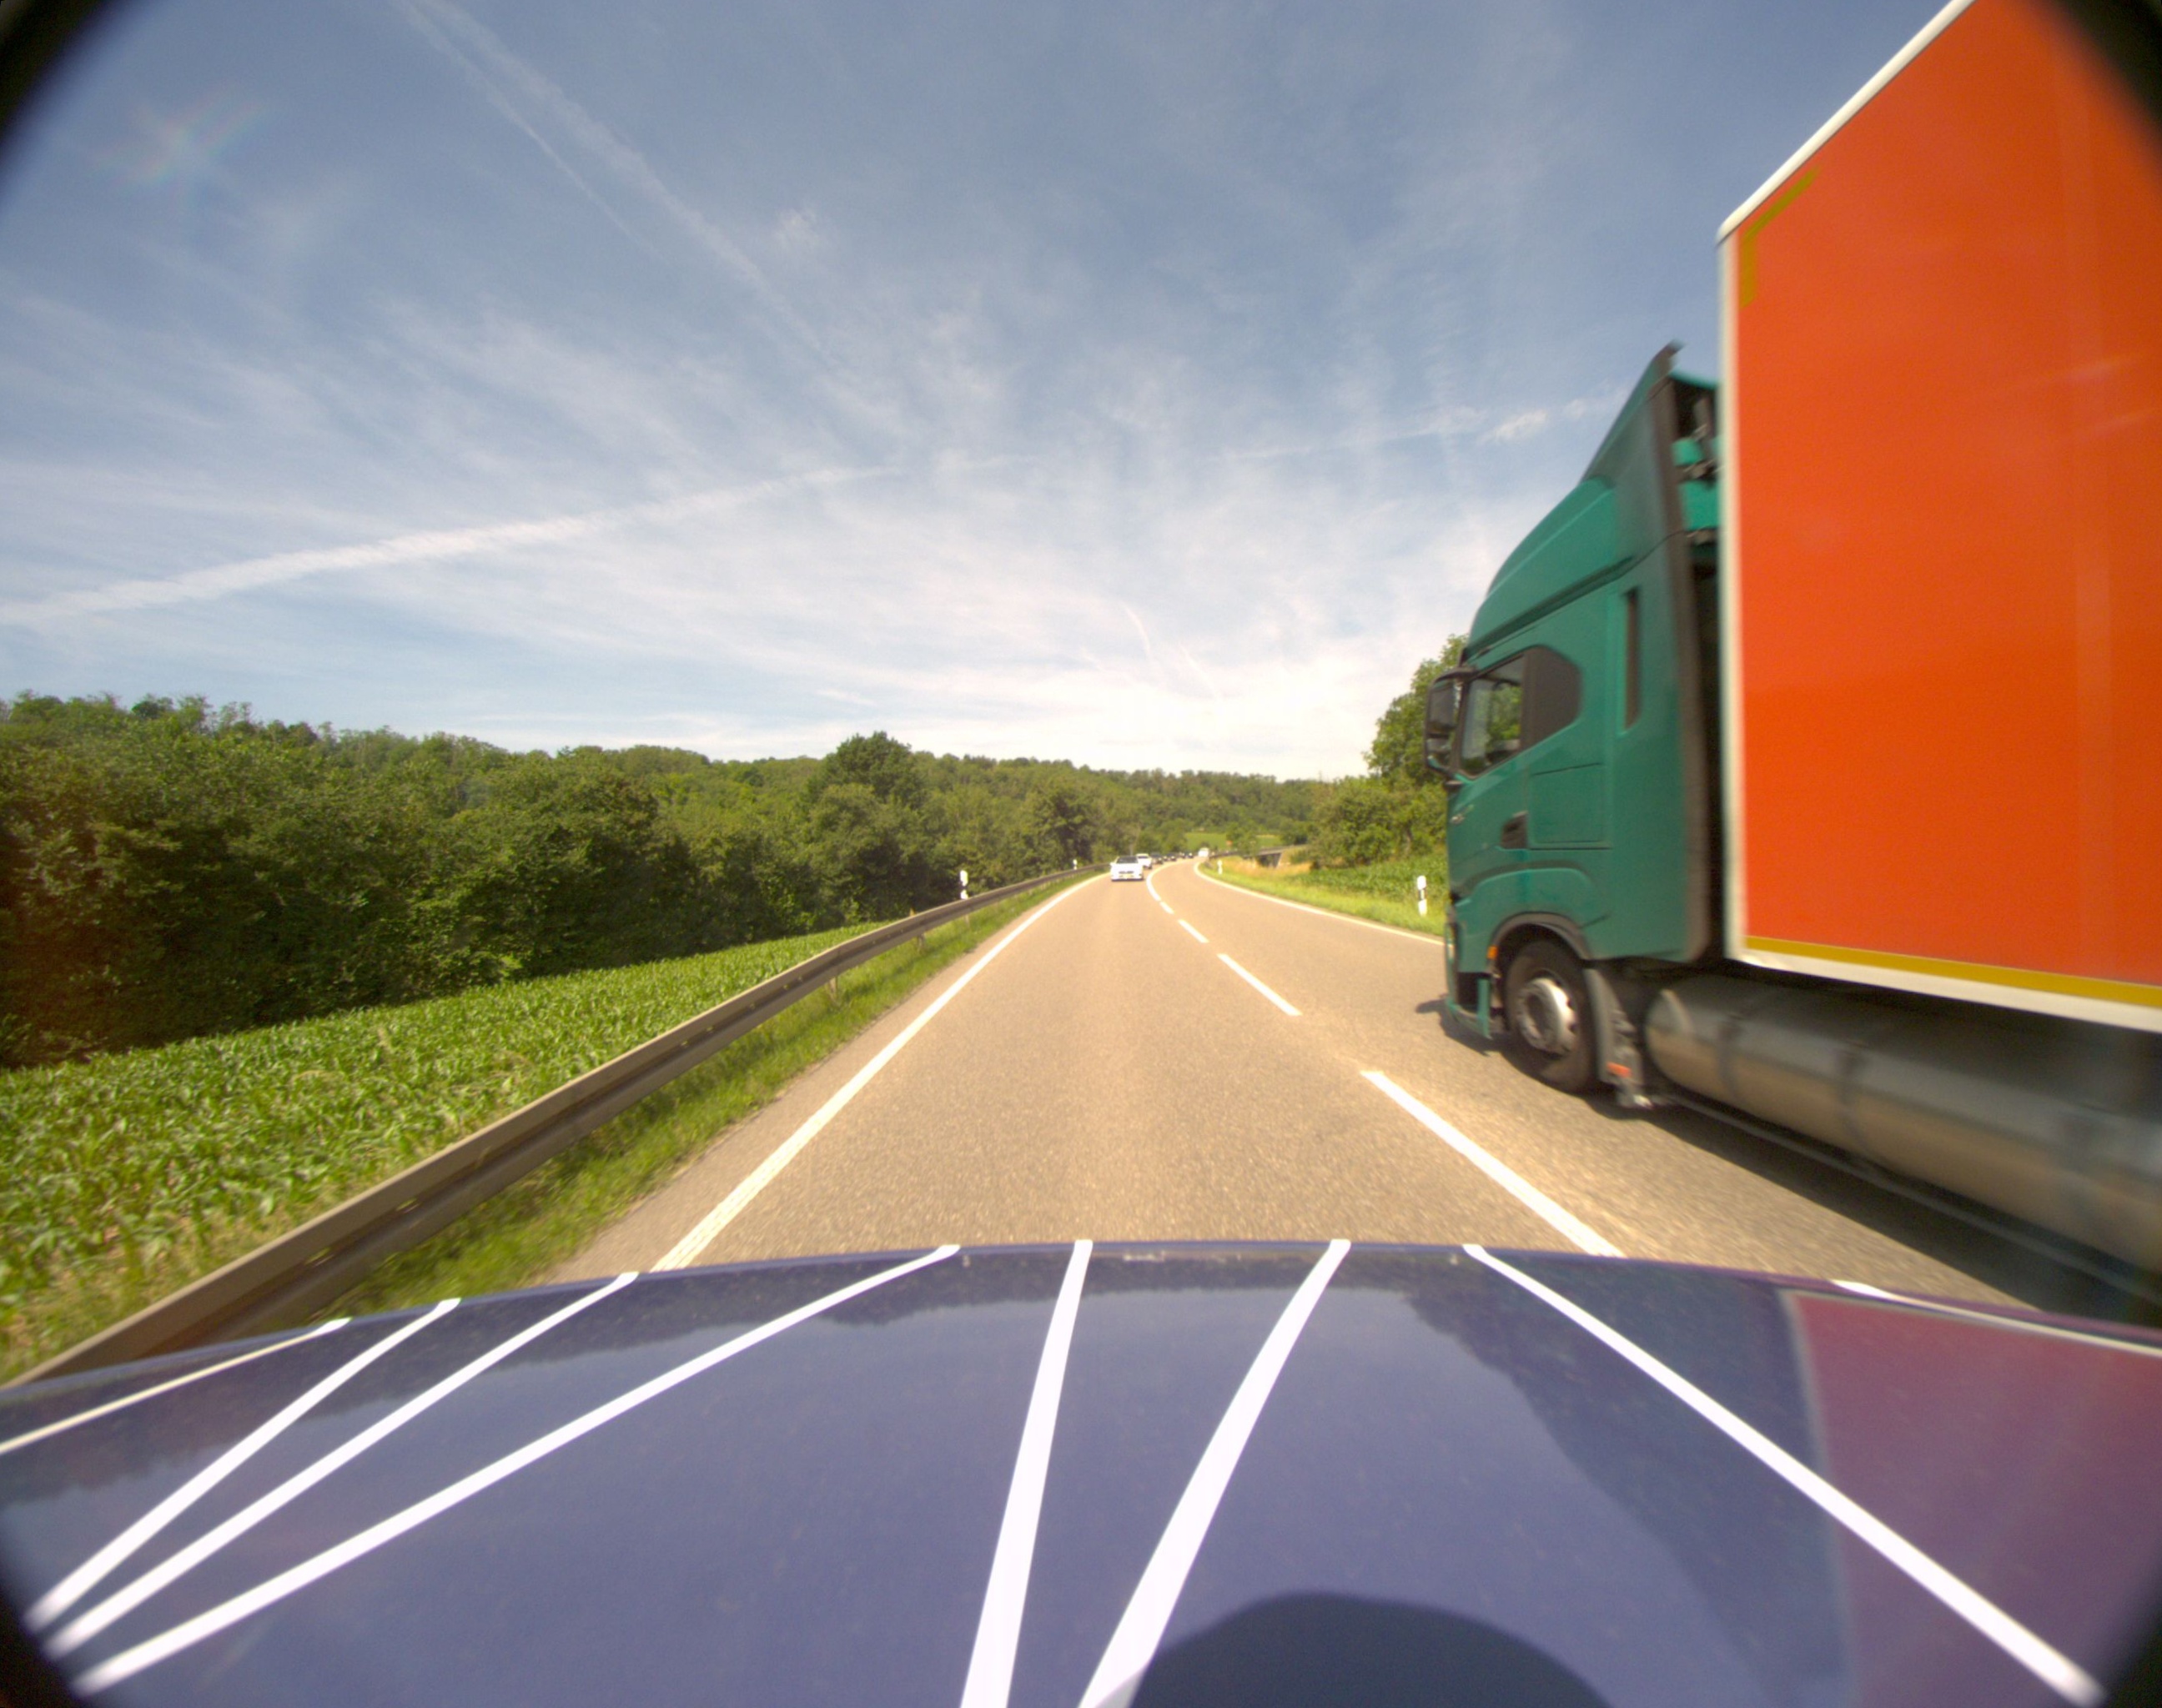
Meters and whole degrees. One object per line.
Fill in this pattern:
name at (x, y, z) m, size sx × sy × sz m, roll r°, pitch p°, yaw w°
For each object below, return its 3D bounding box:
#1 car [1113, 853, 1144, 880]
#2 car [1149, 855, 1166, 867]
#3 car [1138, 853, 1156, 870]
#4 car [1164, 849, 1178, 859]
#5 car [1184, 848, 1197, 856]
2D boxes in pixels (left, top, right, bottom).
car at (2.819, 0.718, 45.087) m, size 1.742 × 1.445 × 4.036 m, roll -2°, pitch 1°, yaw 3°
car at (10.165, 0.855, 100.433) m, size 1.741 × 1.445 × 4.039 m, roll -2°, pitch 1°, yaw 12°
car at (6.534, 0.705, 74.896) m, size 1.717 × 1.523 × 4.001 m, roll -2°, pitch 1°, yaw 5°
car at (14.501, -0.071, 121.789) m, size 1.741 × 1.445 × 4.039 m, roll -2°, pitch 1°, yaw 13°
car at (21.845, -0.412, 151.650) m, size 1.740 × 1.445 × 4.041 m, roll -1°, pitch 1°, yaw 20°
